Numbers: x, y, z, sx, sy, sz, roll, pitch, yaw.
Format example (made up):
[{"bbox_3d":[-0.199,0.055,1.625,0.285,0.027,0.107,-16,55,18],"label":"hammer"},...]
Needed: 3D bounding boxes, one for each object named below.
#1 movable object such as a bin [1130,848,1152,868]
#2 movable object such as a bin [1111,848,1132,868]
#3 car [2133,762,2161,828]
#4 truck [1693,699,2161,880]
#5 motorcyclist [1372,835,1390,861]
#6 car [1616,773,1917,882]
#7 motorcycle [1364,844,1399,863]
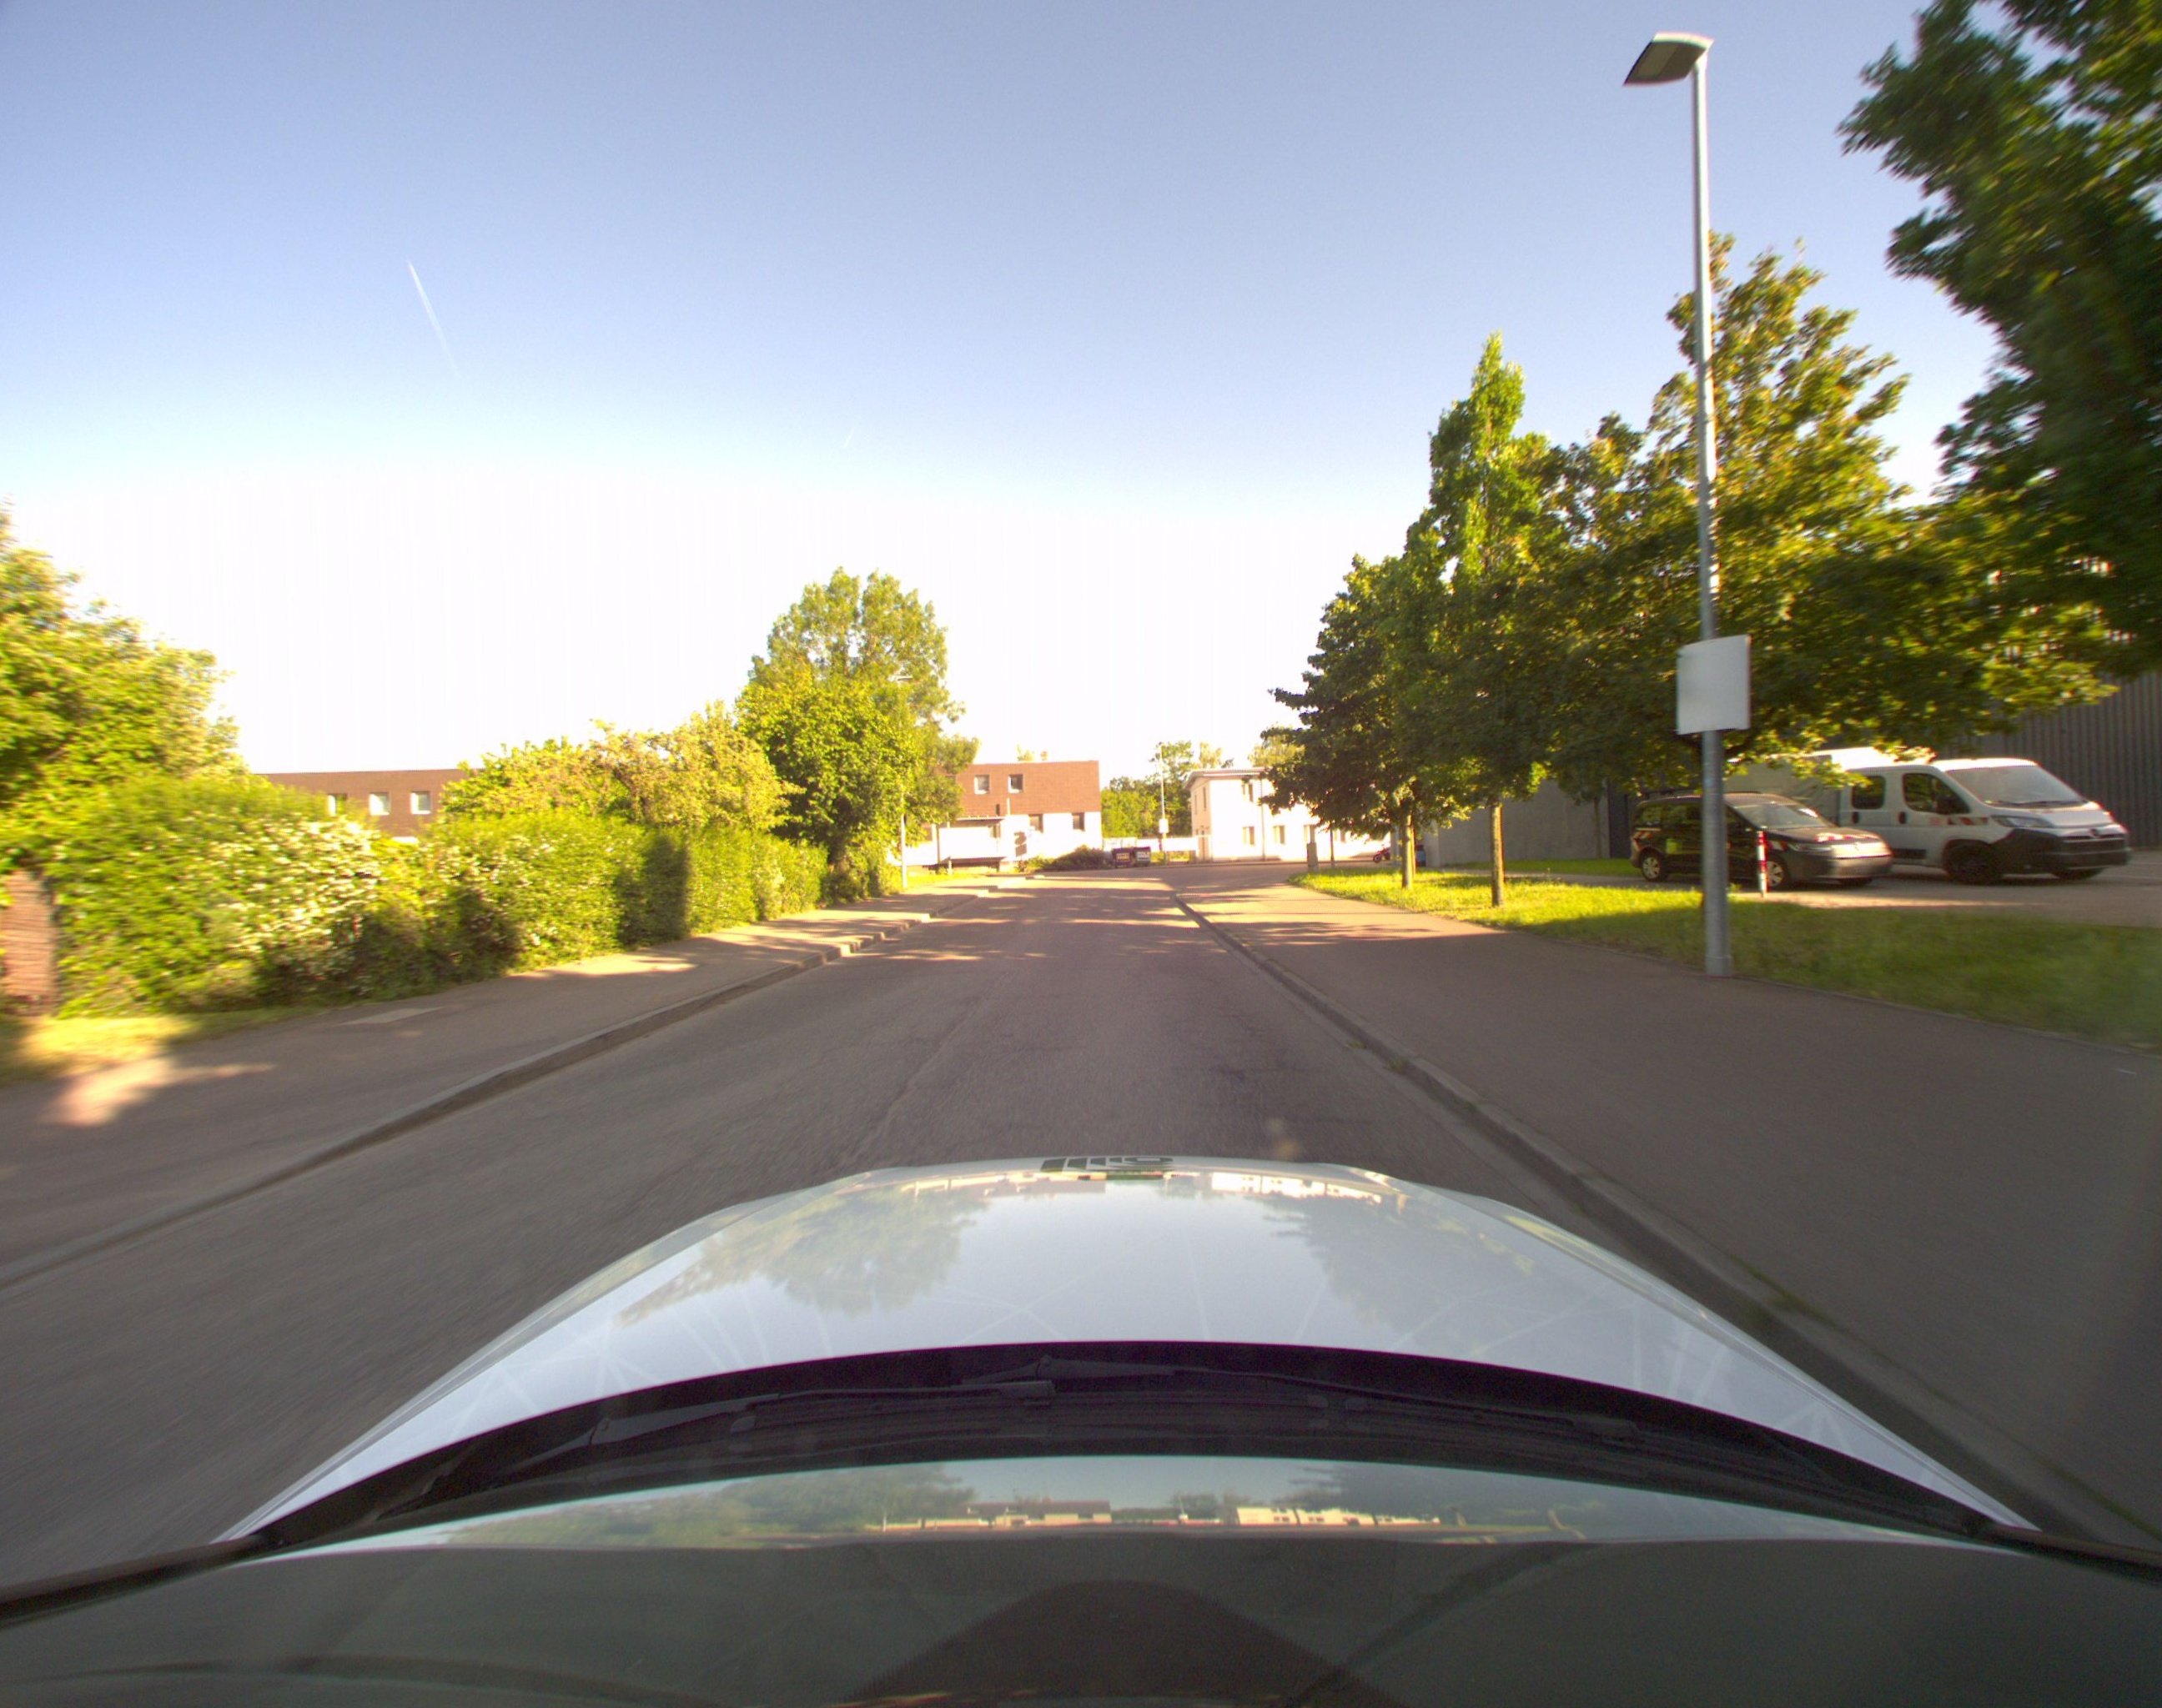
[{"bbox_3d":[4.184,0.274,56.737,1.363,1.418,1.063,0,-1,-5],"label":"movable object such as a bin"},{"bbox_3d":[2.804,0.284,56.425,1.363,1.418,1.063,0,-1,-5],"label":"movable object such as a bin"},{"bbox_3d":[33.030,-1.782,22.858,1.850,1.918,4.001,-1,-1,2],"label":"car"},{"bbox_3d":[16.031,-1.044,16.262,2.353,2.838,6.743,0,0,-3],"label":"truck"},{"bbox_3d":[19.361,-0.413,52.562,0.889,1.553,1.035,-3,4,12],"label":"motorcyclist"},{"bbox_3d":[13.042,-0.428,15.992,1.831,1.814,4.661,0,-1,-3],"label":"car"},{"bbox_3d":[19.387,-0.031,52.555,2.016,1.186,0.966,-2,0,12],"label":"motorcycle"}]
